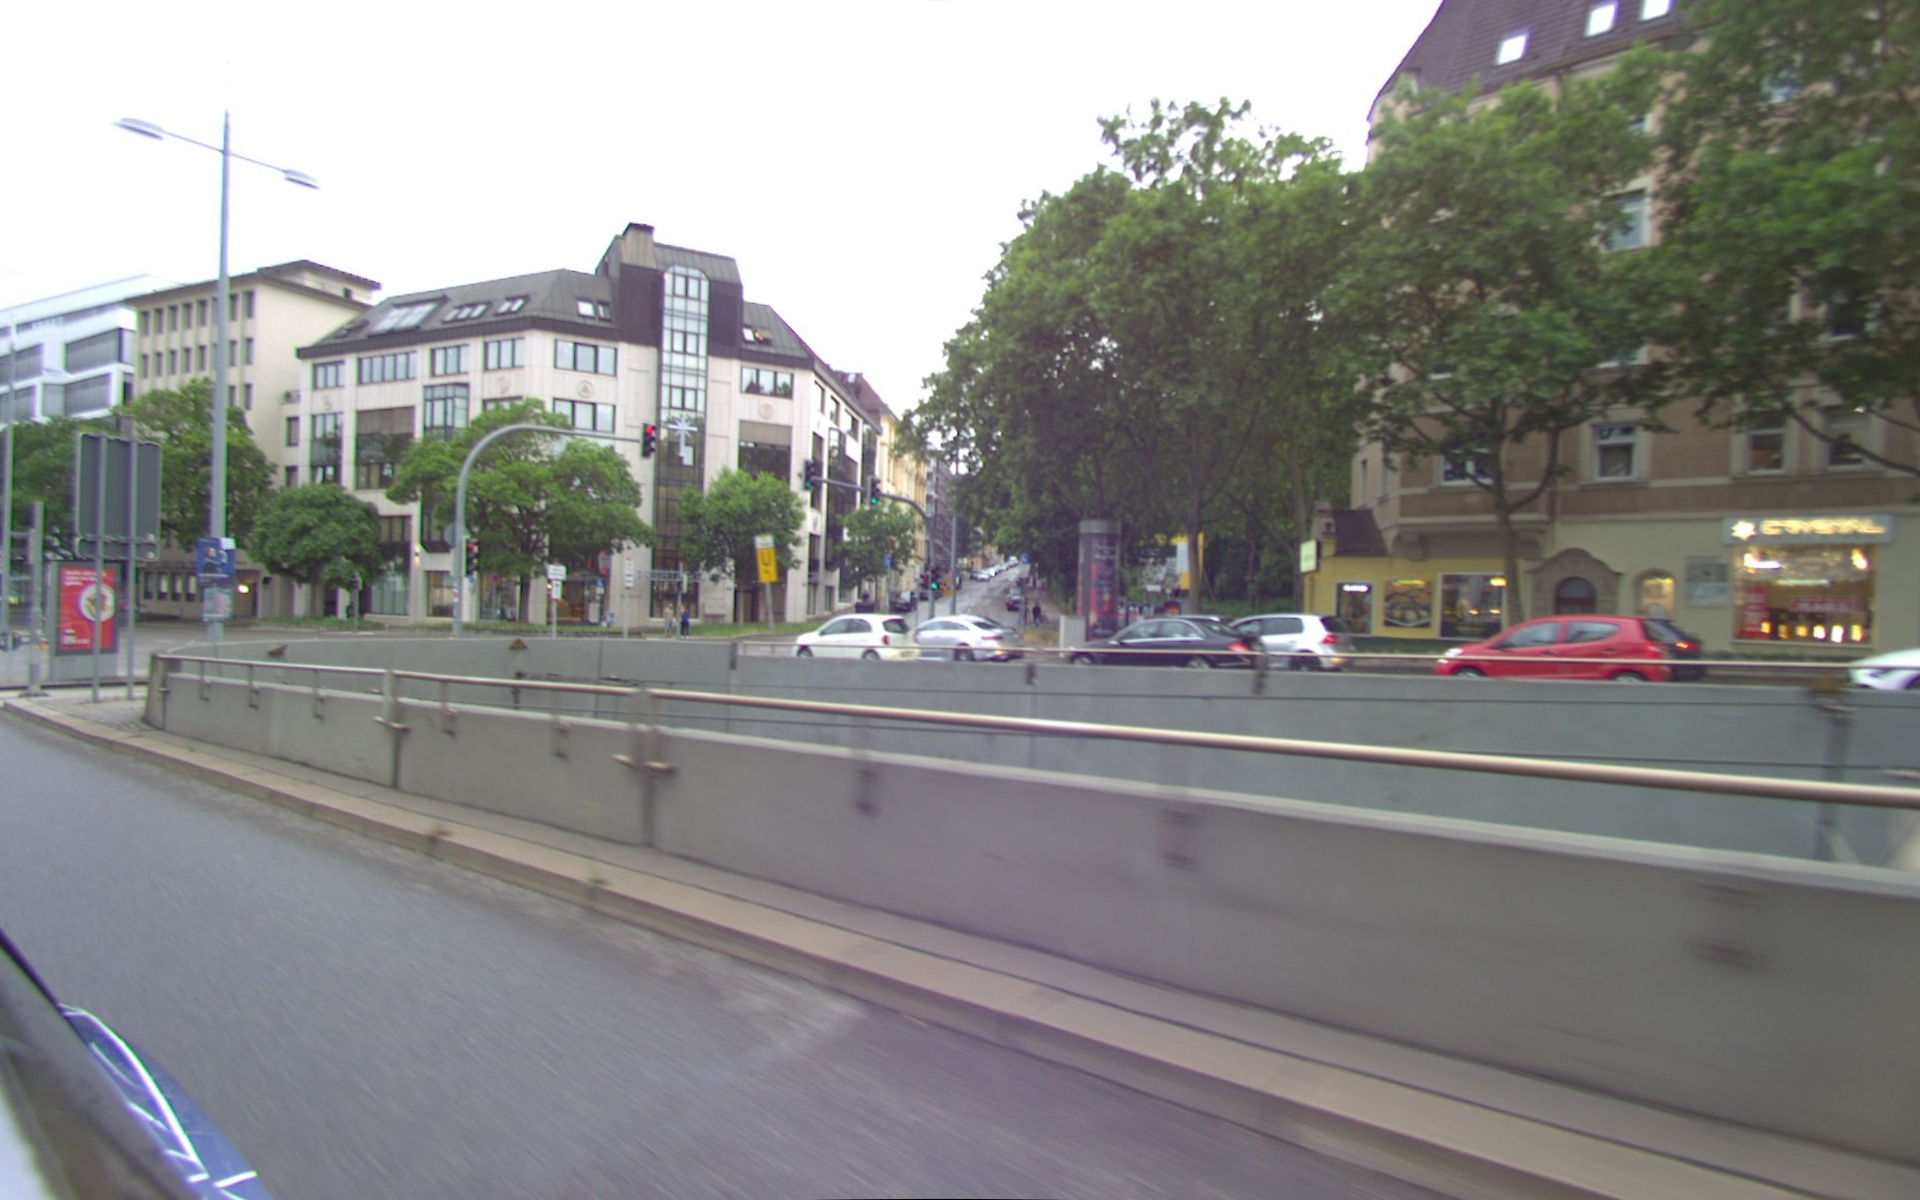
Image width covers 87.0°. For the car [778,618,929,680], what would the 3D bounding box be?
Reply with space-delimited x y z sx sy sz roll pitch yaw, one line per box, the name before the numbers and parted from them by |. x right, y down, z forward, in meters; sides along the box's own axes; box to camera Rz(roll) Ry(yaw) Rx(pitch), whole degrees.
car | -2.970 1.306 27.981 3.990 1.573 1.779 0 -1 35

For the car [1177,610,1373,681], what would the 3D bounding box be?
car | 7.306 1.045 23.653 3.994 1.522 1.777 -2 -2 37

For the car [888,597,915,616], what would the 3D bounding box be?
car | -4.825 0.539 83.541 1.592 1.473 3.484 0 0 8

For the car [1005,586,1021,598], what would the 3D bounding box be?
car | 6.235 -0.946 119.242 1.592 1.473 3.484 0 0 8

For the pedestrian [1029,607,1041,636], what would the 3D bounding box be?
pedestrian | 4.887 1.379 65.766 0.623 1.823 0.675 0 0 -8

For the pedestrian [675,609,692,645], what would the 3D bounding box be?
pedestrian | -14.448 1.404 52.901 0.582 1.823 0.674 -1 0 -44

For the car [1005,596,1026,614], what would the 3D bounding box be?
car | 4.772 0.433 86.777 1.592 1.473 3.484 0 0 8

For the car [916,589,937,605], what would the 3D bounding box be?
car | -3.345 -0.321 101.351 1.777 1.521 3.996 -1 0 4

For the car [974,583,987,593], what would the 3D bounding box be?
car | 3.146 -1.804 152.716 1.777 1.521 3.996 -1 0 4

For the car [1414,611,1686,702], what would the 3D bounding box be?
car | 10.130 0.894 17.531 3.877 1.411 1.568 -1 -1 40

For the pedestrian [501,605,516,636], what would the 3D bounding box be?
pedestrian | -26.175 1.170 58.639 0.524 1.798 0.598 0 0 32

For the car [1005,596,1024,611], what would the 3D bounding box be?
car | 5.404 0.326 100.153 1.592 1.473 3.484 0 0 8

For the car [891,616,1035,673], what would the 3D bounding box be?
car | 0.044 1.252 29.461 3.995 1.522 1.777 -1 -1 39

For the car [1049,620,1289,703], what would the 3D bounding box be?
car | 4.433 1.244 21.941 4.828 1.569 1.777 0 -1 38

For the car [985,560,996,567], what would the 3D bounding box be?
car | 6.530 -7.880 219.293 1.781 1.521 3.986 -1 0 11

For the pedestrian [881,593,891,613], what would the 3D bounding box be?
pedestrian | -6.423 0.263 87.804 0.643 1.674 0.647 -1 0 13

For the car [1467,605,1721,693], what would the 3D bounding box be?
car | 12.158 0.905 19.526 3.994 1.522 1.777 -2 -1 37

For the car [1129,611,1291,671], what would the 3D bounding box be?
car | 6.869 1.132 27.992 3.936 1.522 1.777 -2 -1 37

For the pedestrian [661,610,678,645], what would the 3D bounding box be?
pedestrian | -15.075 1.416 52.520 0.582 1.823 0.674 -1 0 -44

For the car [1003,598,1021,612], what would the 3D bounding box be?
car | 5.411 0.514 104.422 1.592 1.473 3.484 0 0 8

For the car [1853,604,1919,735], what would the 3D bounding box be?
car | 14.931 0.937 13.324 4.730 1.783 1.775 -1 -1 42

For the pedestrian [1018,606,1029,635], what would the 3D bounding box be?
pedestrian | 4.118 1.319 65.633 0.623 1.823 0.675 0 0 -8

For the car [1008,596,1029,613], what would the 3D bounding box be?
car | 5.398 0.378 93.022 1.592 1.473 3.484 0 0 8

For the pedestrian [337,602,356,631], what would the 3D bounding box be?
pedestrian | -38.891 1.057 64.194 0.614 1.798 0.826 0 0 32

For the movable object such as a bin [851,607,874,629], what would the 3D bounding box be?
movable object such as a bin | -6.816 1.262 70.472 1.332 1.519 1.073 0 0 -22

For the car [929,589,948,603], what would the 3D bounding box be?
car | -2.401 -0.418 112.713 1.777 1.521 3.996 -1 0 4

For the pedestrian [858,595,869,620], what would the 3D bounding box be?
pedestrian | -7.727 0.601 80.980 0.746 2.029 0.746 -1 0 4
